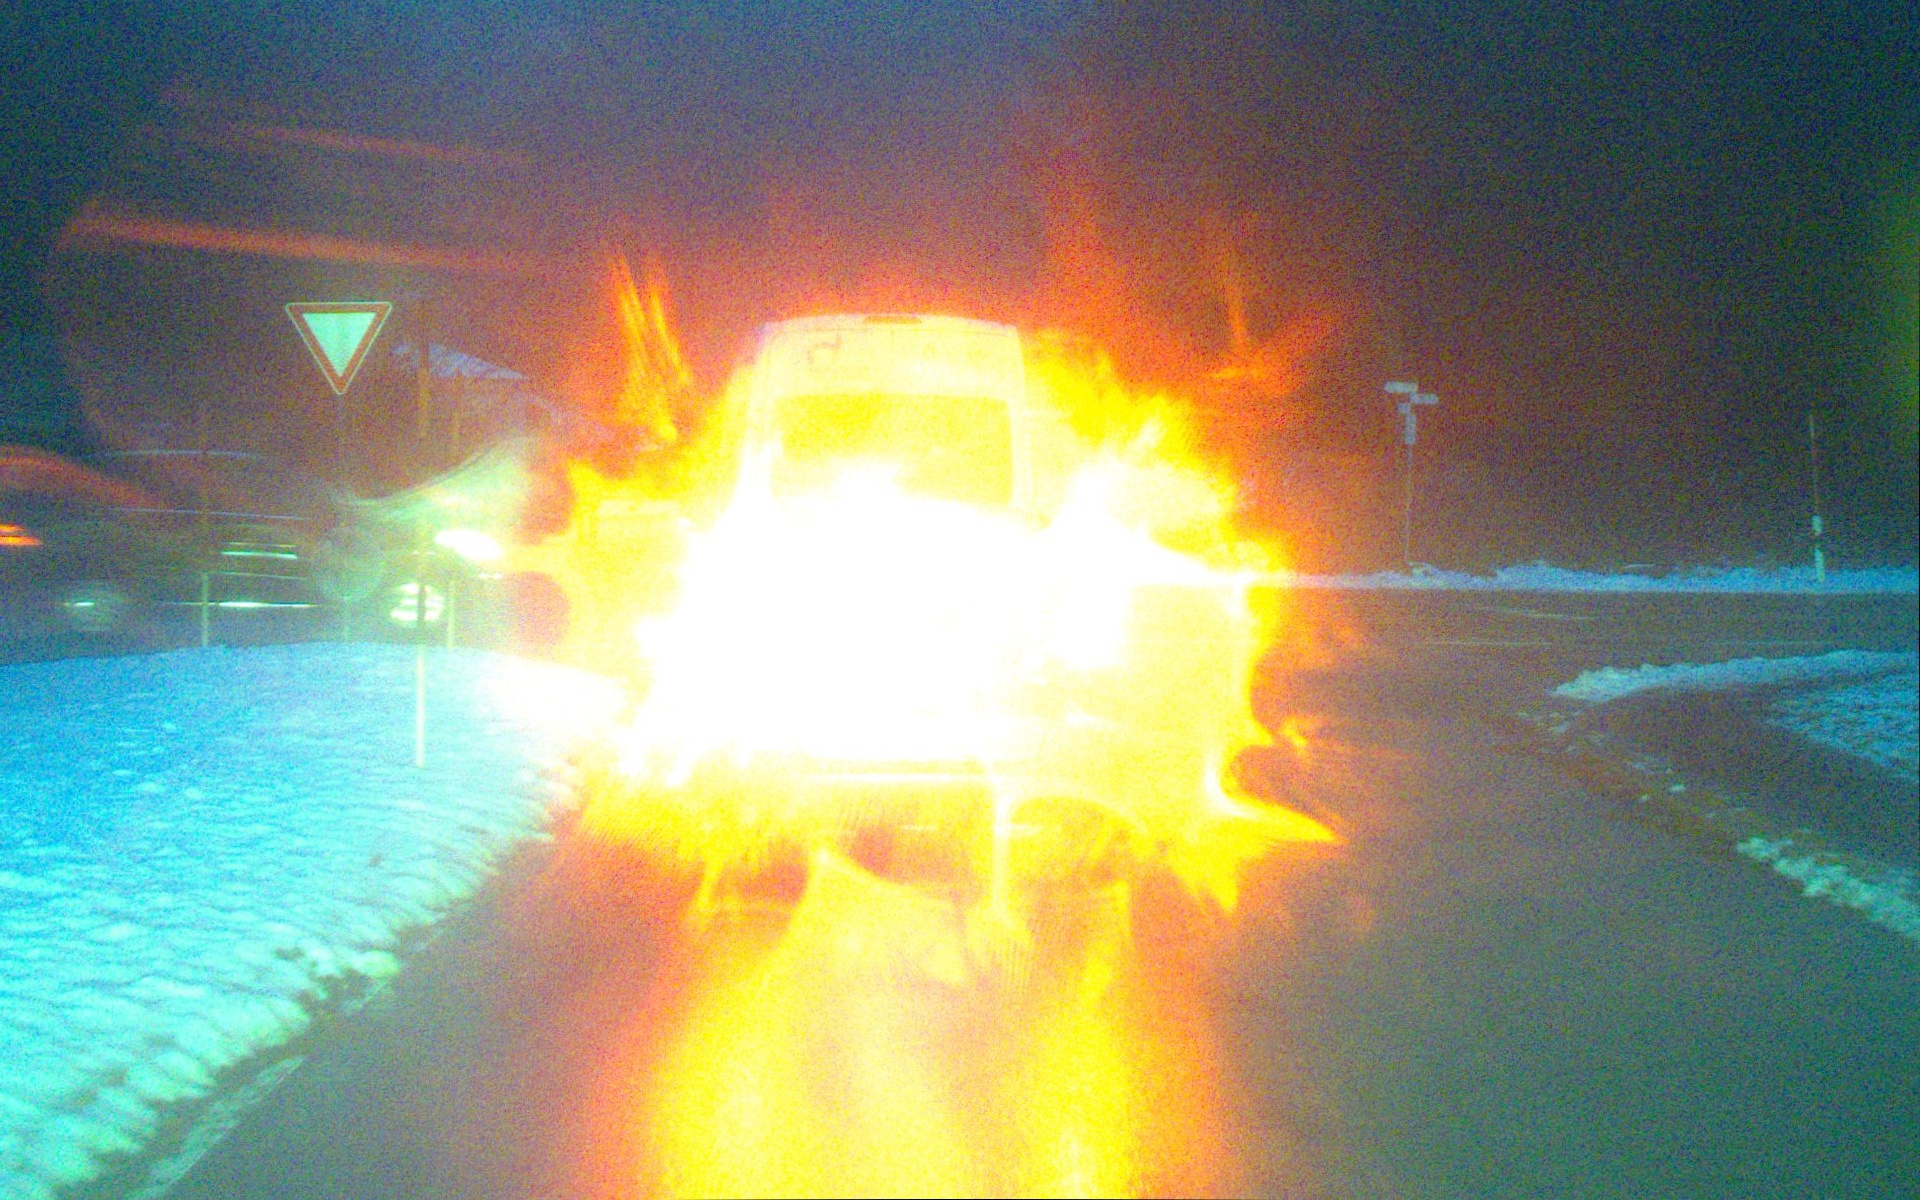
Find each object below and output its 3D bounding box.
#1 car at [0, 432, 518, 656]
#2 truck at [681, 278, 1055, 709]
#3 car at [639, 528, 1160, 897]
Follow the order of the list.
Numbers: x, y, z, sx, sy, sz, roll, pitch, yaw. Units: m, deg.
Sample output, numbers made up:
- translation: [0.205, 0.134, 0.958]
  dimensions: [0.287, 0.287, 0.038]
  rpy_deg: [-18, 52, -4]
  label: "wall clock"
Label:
- translation: [-6.745, -0.518, 32.251]
  dimensions: [5.002, 1.939, 1.685]
  rpy_deg: [1, 1, -12]
  label: "car"
- translation: [-0.805, -0.736, 24.922]
  dimensions: [2.075, 2.736, 5.320]
  rpy_deg: [1, 1, -8]
  label: "truck"
- translation: [-0.266, 0.380, 14.839]
  dimensions: [1.922, 1.272, 4.001]
  rpy_deg: [1, 2, -1]
  label: "car"
